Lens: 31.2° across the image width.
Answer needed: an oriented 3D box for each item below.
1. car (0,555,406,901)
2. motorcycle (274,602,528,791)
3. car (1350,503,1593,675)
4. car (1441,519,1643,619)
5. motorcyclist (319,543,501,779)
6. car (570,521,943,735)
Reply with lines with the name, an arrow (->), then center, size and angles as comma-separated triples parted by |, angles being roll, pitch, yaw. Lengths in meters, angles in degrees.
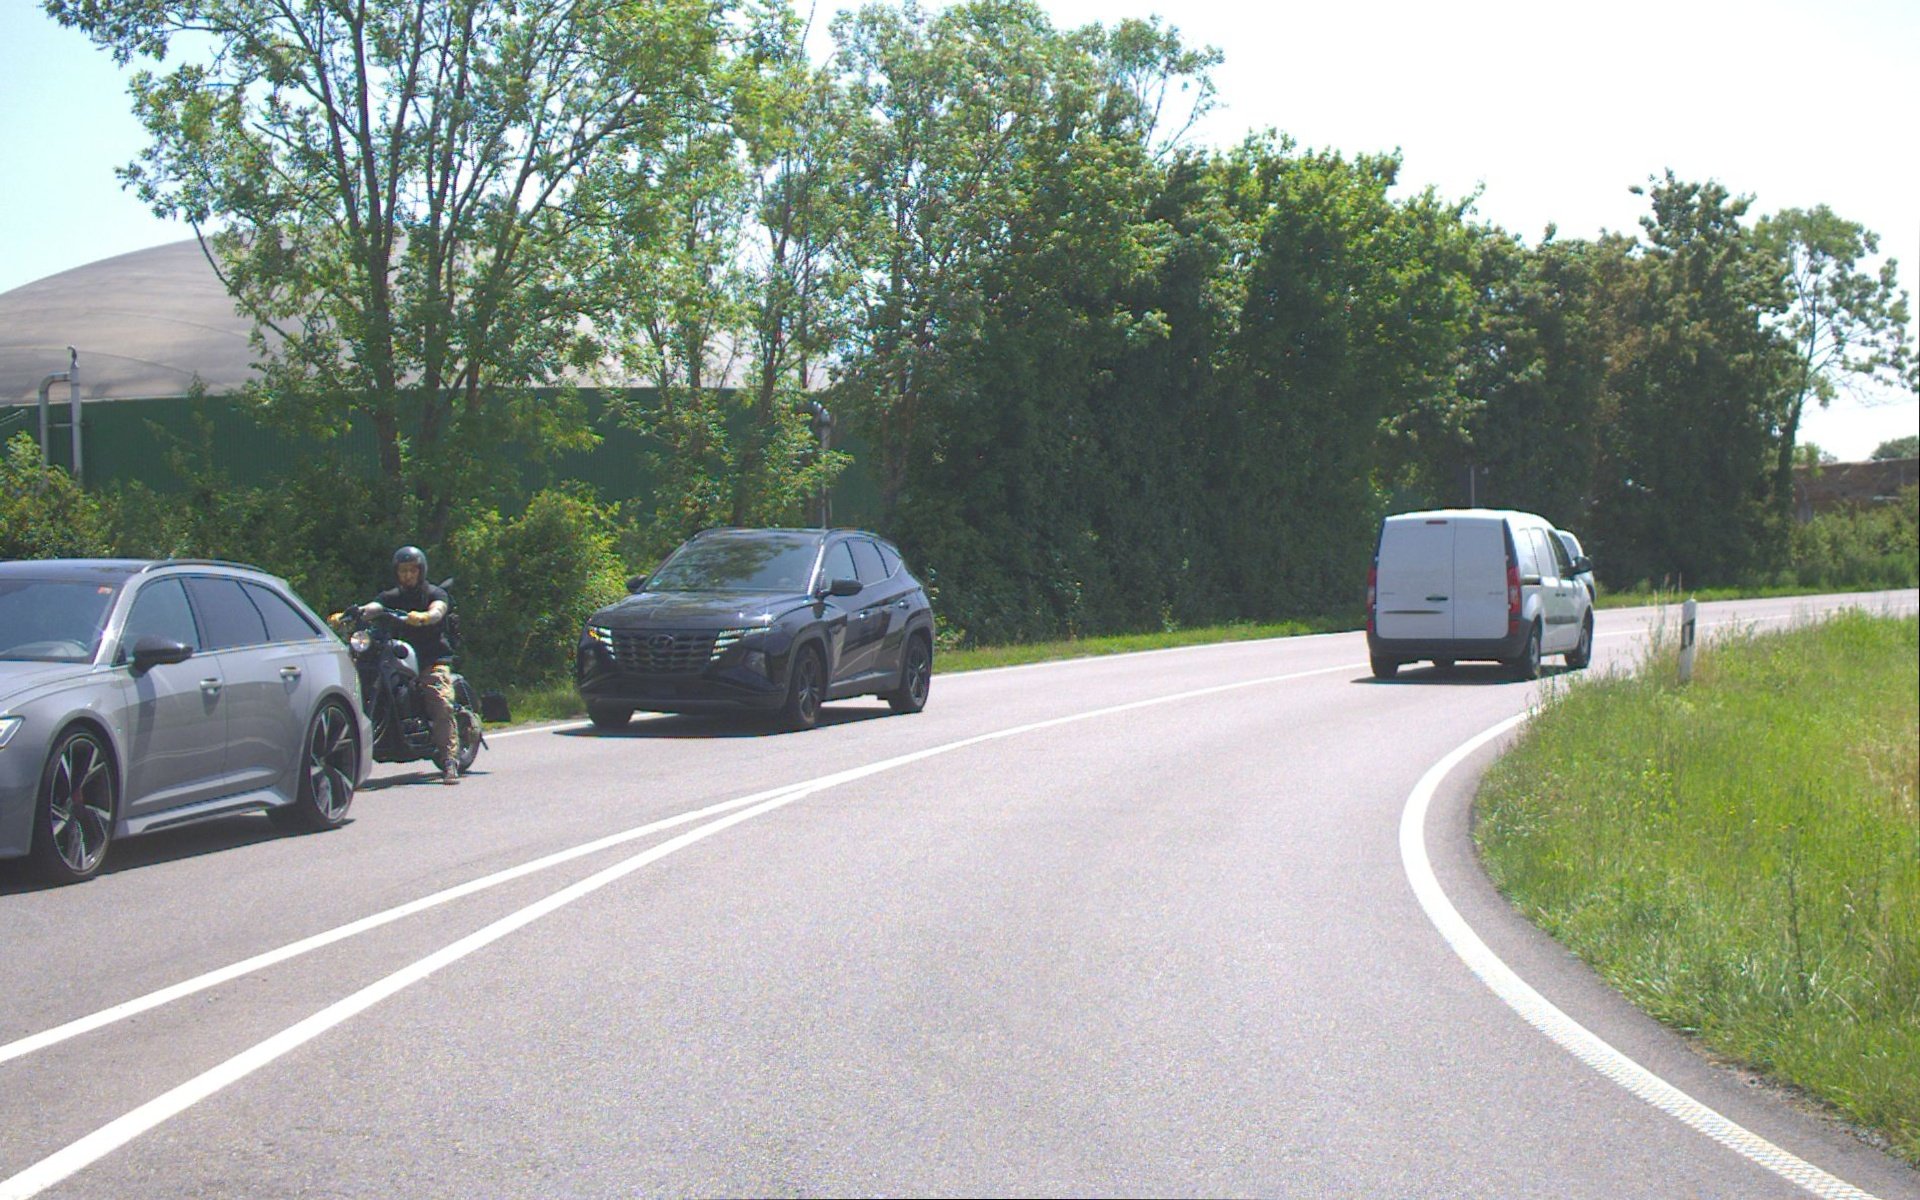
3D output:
car -> -4.525, 0.516, 17.113 | 1.842, 1.455, 4.806 | 0, 1, 13
motorcycle -> -3.582, 0.588, 22.276 | 0.782, 1.120, 2.428 | 0, 1, 12
car -> 5.617, -0.129, 37.372 | 1.905, 1.726, 3.819 | -2, 0, 19
car -> 8.884, -0.474, 52.346 | 1.540, 1.438, 3.600 | 2, 1, 37
motorcyclist -> -3.558, 0.382, 22.324 | 0.781, 1.490, 1.130 | -1, 0, 13
car -> -1.612, 0.164, 28.833 | 1.703, 1.632, 4.246 | 0, 2, 18
